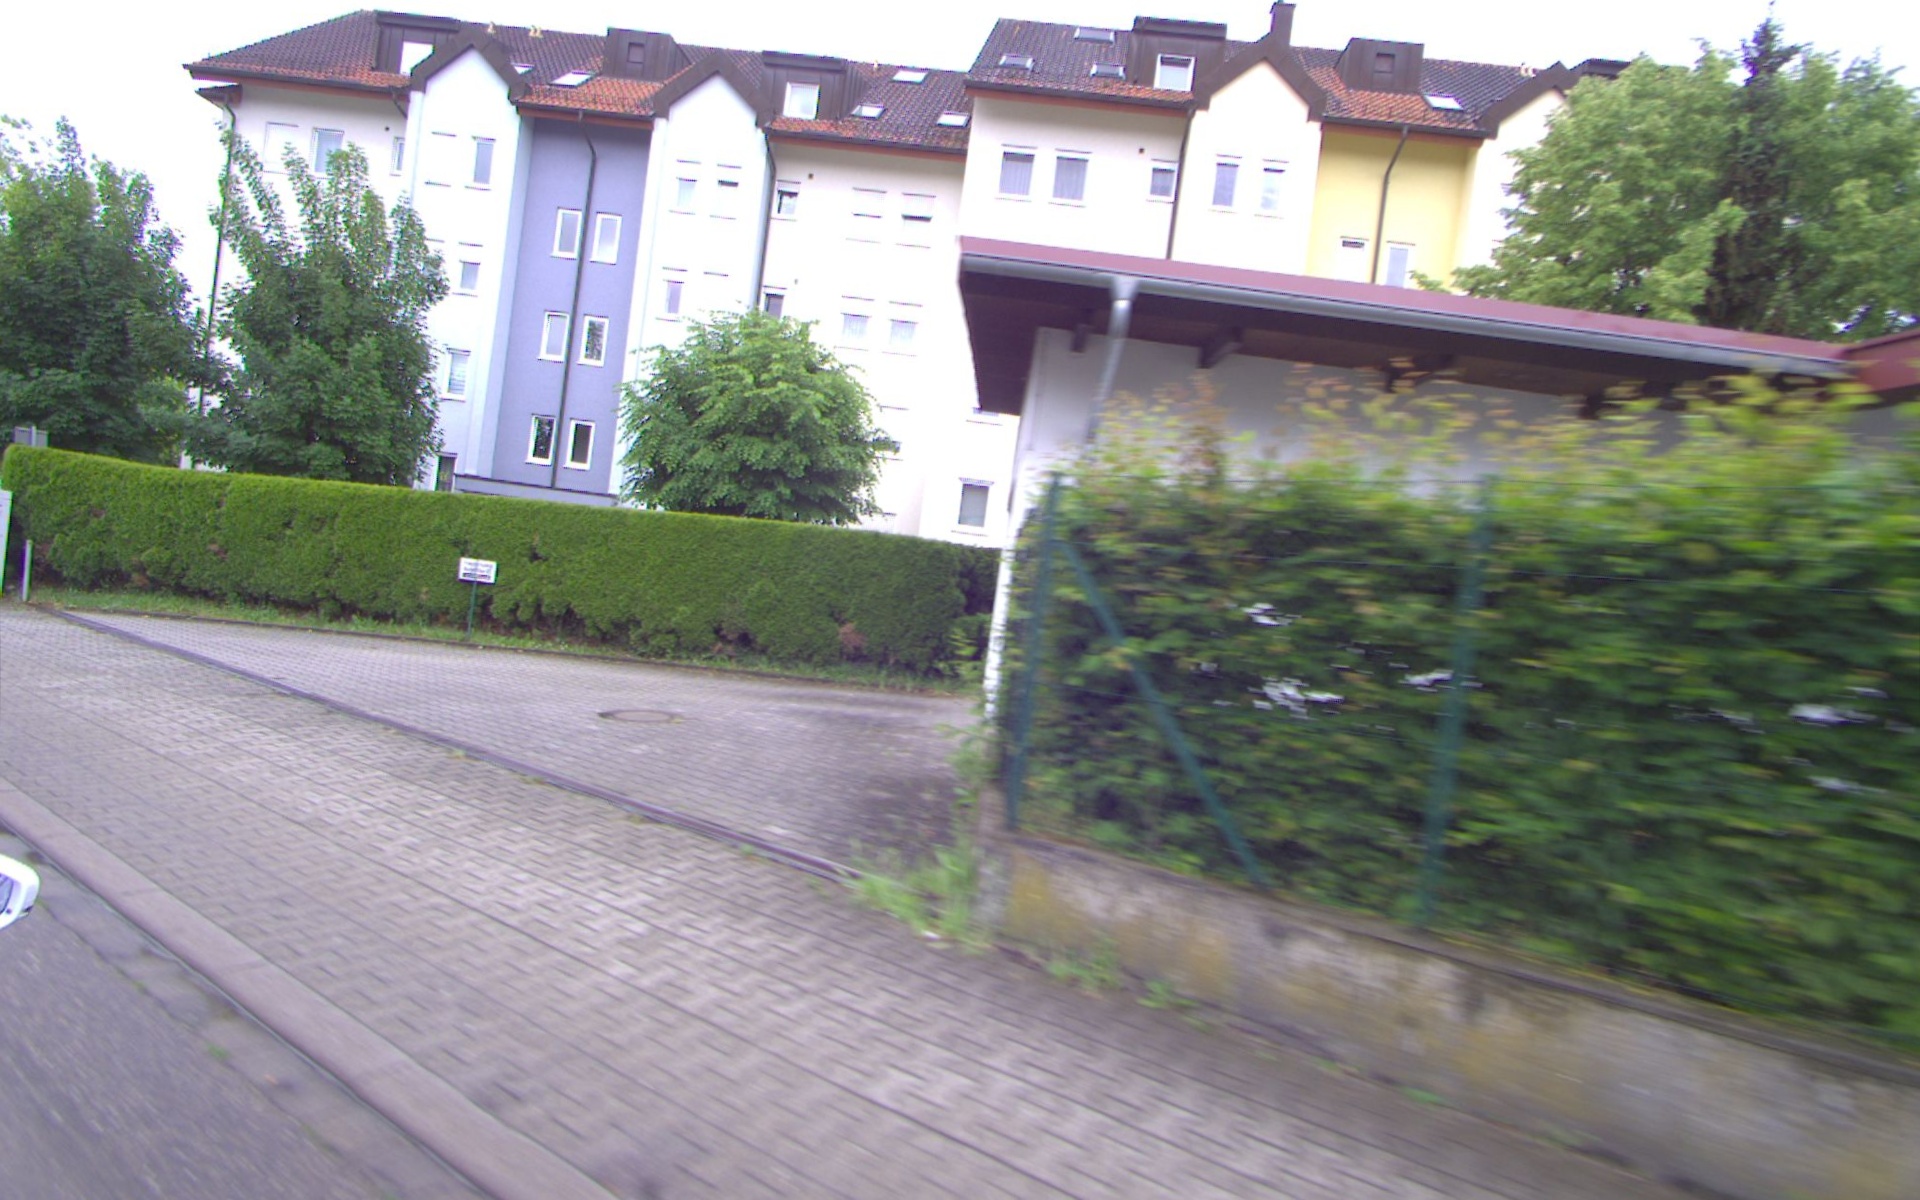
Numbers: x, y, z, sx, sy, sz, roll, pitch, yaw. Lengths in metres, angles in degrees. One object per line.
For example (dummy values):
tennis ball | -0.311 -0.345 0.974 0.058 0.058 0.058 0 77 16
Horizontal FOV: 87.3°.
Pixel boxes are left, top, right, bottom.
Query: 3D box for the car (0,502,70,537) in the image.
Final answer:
car | -49.397 -4.314 52.515 1.736 1.460 4.013 7 0 33

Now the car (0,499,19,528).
car | -52.637 -4.839 52.697 1.736 1.460 4.576 7 0 33

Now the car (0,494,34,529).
car | -60.400 -5.714 62.446 4.132 1.904 2.001 7 0 8
